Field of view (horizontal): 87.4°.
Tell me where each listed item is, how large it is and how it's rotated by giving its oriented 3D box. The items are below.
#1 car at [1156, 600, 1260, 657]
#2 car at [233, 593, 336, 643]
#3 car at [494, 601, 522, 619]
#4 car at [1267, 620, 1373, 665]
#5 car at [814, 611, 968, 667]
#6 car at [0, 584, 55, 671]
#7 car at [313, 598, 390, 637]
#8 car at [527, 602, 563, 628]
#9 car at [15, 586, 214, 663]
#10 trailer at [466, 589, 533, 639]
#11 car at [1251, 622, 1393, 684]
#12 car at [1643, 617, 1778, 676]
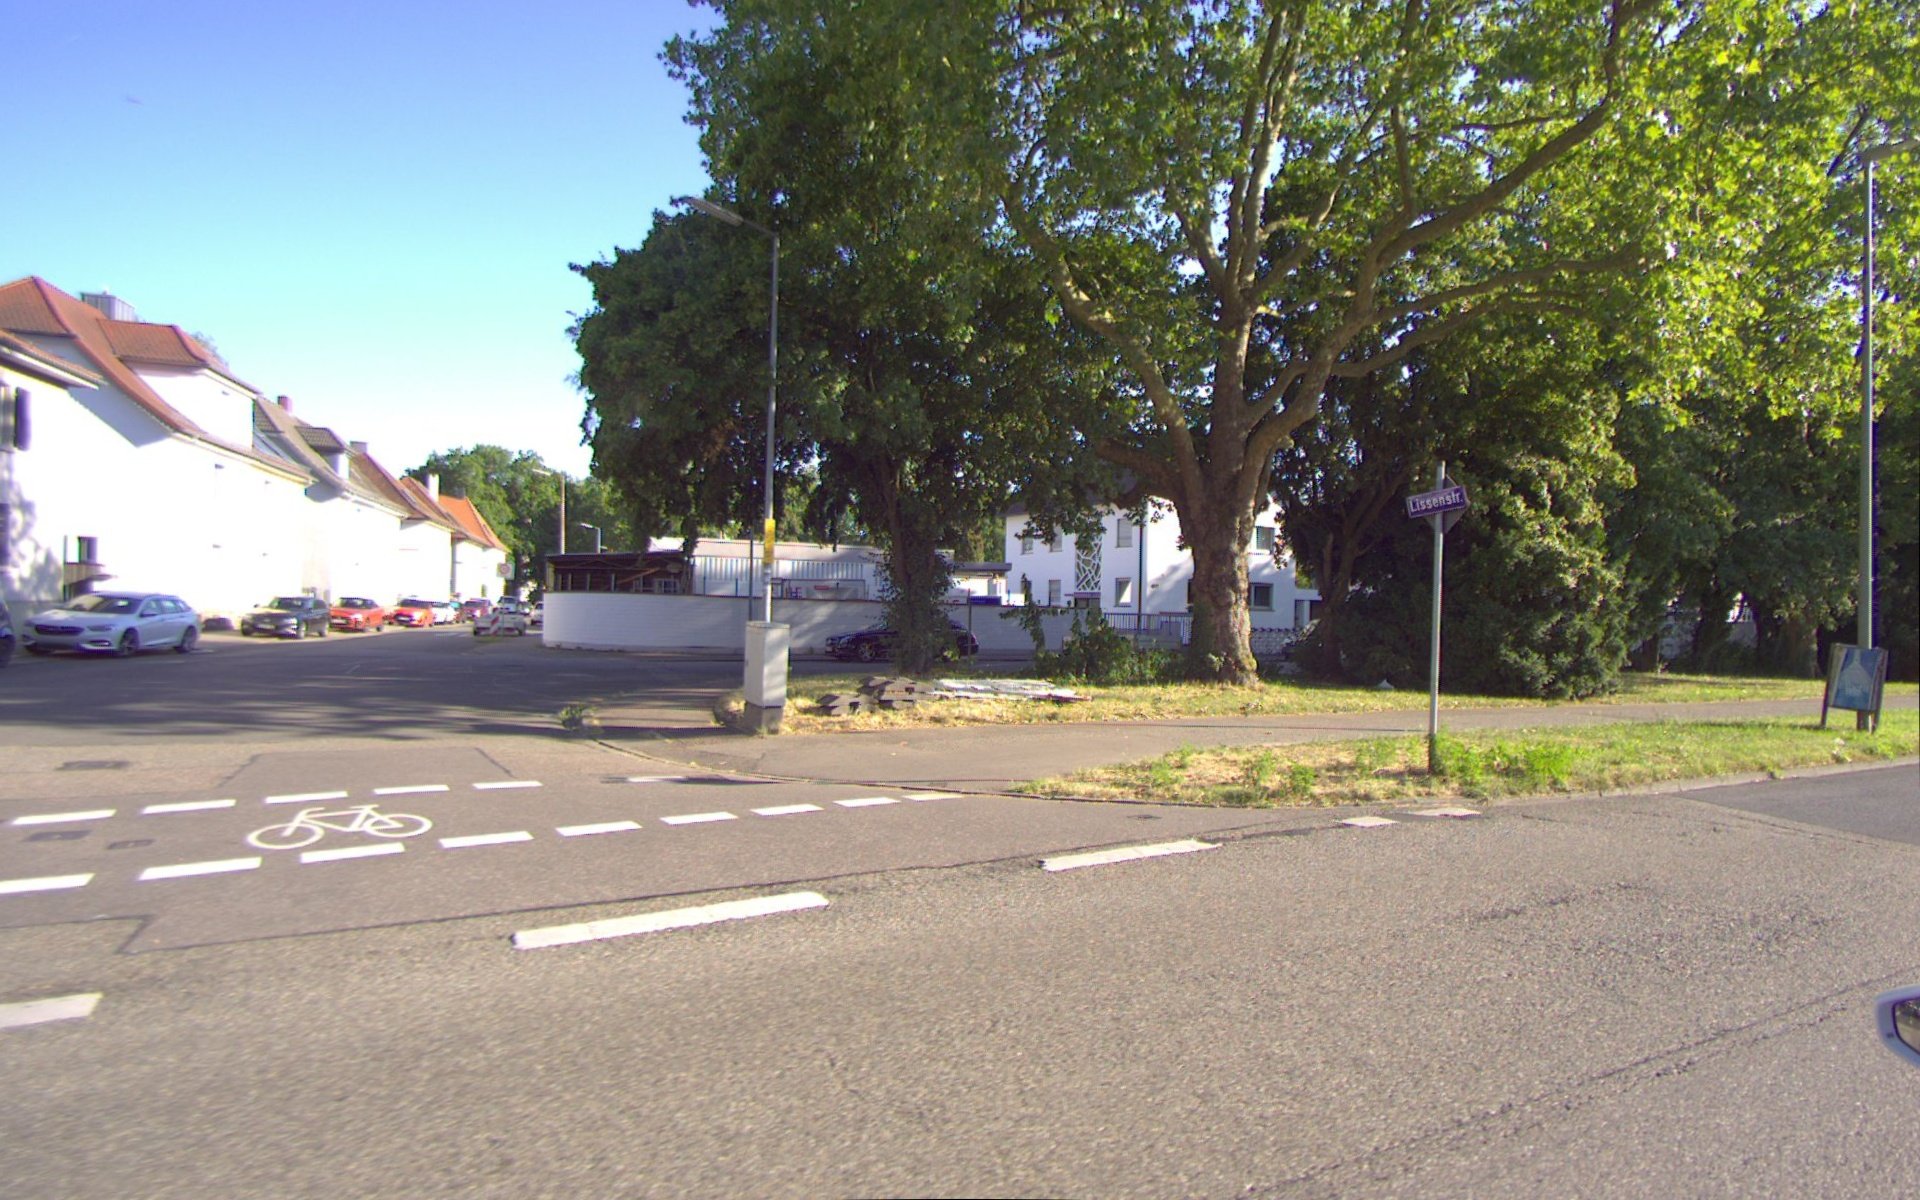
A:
[{"bbox_3d":[10.738,1.210,43.760,1.976,2.319,4.296,2,-1,-29],"label":"car"},{"bbox_3d":[-24.179,0.632,36.131,1.835,1.581,3.986,5,-2,-16],"label":"car"},{"bbox_3d":[-42.345,0.955,94.140,1.835,1.582,3.908,2,-1,-17],"label":"car"},{"bbox_3d":[14.703,1.756,41.006,4.127,1.764,1.884,2,-2,-31],"label":"car"},{"bbox_3d":[-2.086,1.196,30.718,4.308,1.582,1.850,2,-1,-30],"label":"car"},{"bbox_3d":[-18.330,0.460,17.757,1.834,1.582,3.986,3,-1,-16],"label":"car"},{"bbox_3d":[-26.347,0.728,43.594,1.834,1.582,3.986,2,-1,-16],"label":"car"},{"bbox_3d":[-26.366,0.951,63.963,1.836,1.582,3.982,2,-1,-19],"label":"car"},{"bbox_3d":[-20.082,0.549,24.150,1.835,1.581,4.663,3,-1,-16],"label":"car"},{"bbox_3d":[-20.122,0.616,43.996,2.142,2.040,3.653,2,-1,-17],"label":"trailer"},{"bbox_3d":[11.235,1.614,31.410,1.708,1.706,3.965,3,-1,-32],"label":"car"},{"bbox_3d":[29.991,1.807,40.215,1.891,2.072,3.957,0,1,-37],"label":"car"}]
